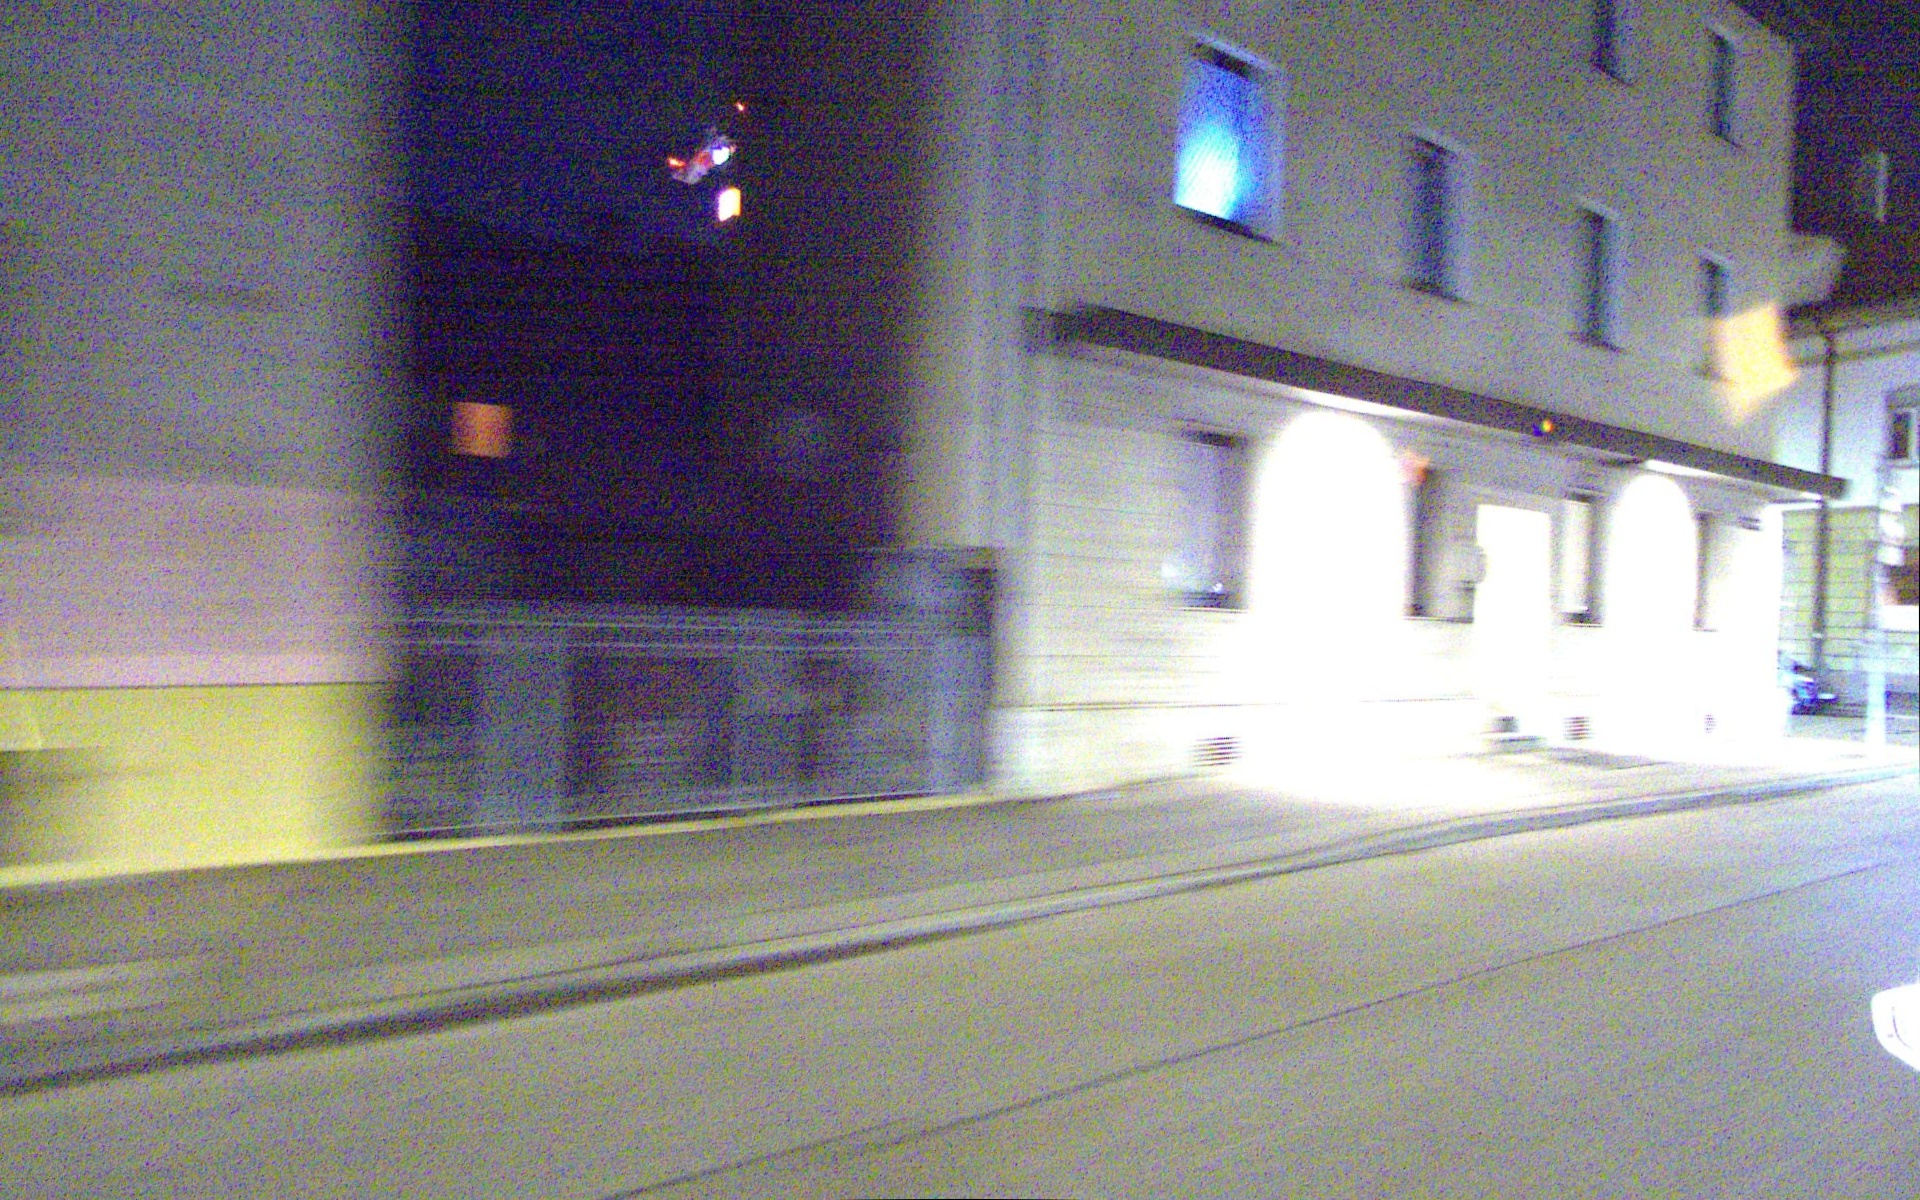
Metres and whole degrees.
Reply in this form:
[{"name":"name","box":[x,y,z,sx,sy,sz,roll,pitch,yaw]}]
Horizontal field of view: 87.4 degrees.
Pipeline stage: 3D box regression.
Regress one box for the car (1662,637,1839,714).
[{"name":"car","box":[17.777,1.663,22.692,1.471,1.533,2.797,2,-1,-29]}]
